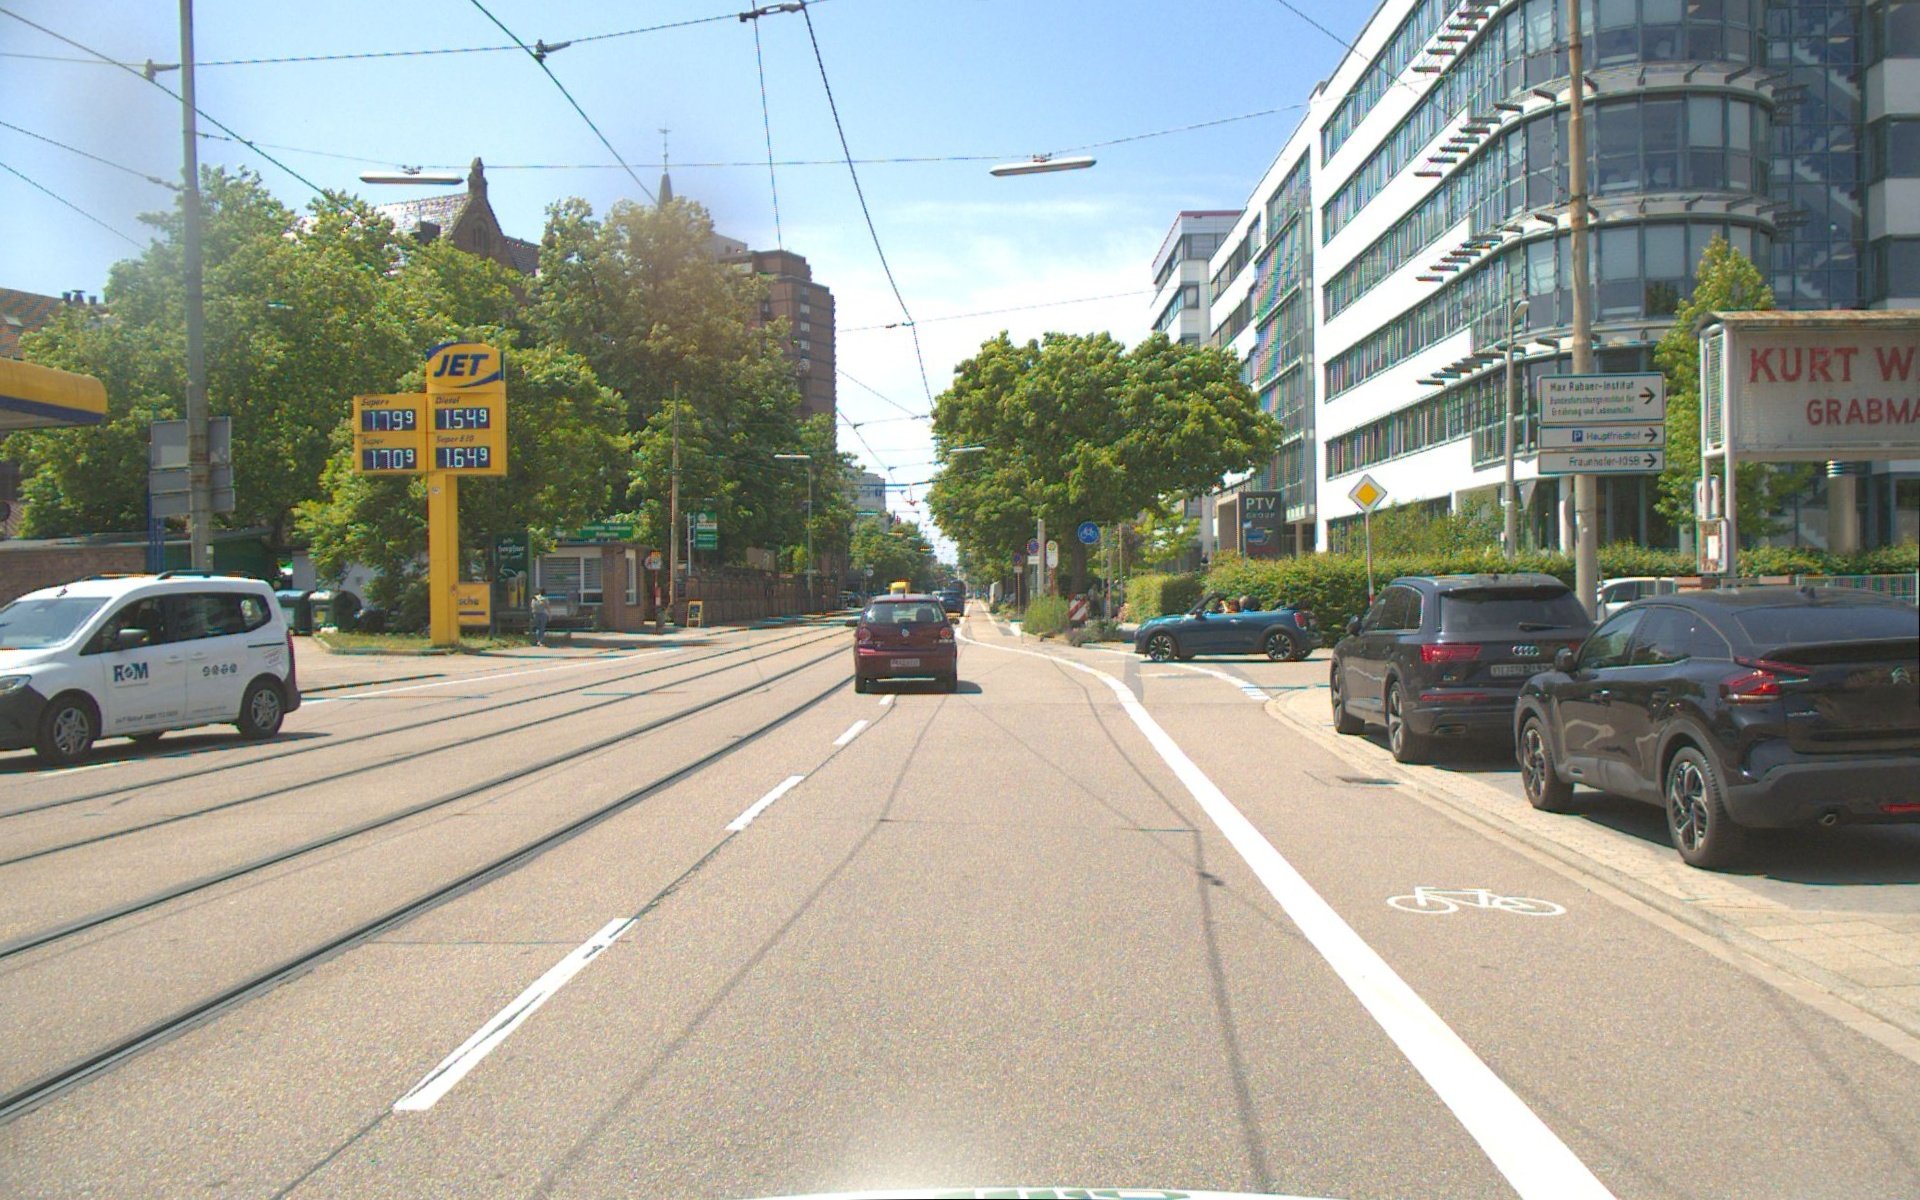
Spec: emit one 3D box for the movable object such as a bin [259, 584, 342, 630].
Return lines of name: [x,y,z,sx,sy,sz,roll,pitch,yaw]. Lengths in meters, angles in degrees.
movable object such as a bin: [-21.688,0.228,54.451,1.491,1.457,2.098,1,0,25]

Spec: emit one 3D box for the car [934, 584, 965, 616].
car: [-0.687,-0.024,109.263,1.953,2.049,3.999,1,0,-2]

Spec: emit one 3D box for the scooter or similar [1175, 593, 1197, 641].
scooter or similar: [5.973,0.448,43.661,0.319,1.244,1.152,1,0,21]

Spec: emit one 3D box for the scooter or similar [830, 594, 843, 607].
scooter or similar: [-11.260,0.069,150.989,1.073,1.175,0.524,0,0,-21]

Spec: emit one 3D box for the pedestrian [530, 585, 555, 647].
pedestrian: [-12.351,0.457,48.939,0.568,1.806,0.699,1,0,-3]

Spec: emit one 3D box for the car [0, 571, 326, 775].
car: [-8.927,0.642,17.249,1.951,1.831,4.556,0,0,17]

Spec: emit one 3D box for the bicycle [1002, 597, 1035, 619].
bicycle: [3.379,0.481,95.301,1.845,1.203,0.694,-1,0,0]

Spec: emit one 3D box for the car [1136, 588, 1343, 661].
car: [5.679,0.504,33.656,3.836,1.396,1.702,-1,0,25]

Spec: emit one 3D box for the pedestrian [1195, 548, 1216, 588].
pedestrian: [10.964,-1.428,73.836,0.855,1.745,1.090,-2,-1,10]

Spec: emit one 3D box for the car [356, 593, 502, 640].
car: [-17.963,0.528,56.117,1.899,1.514,4.428,1,1,40]

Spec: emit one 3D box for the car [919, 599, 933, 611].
car: [-4.722,0.660,230.700,1.734,1.542,4.000,-1,0,0]

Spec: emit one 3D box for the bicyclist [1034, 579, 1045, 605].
bicyclist: [5.680,-0.562,117.938,0.682,1.831,0.888,-2,-1,3]

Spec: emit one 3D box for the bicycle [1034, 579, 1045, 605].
bicycle: [5.692,-0.535,117.978,0.675,1.816,1.811,-2,-1,3]

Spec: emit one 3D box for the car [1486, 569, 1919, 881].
car: [5.022,0.641,10.825,1.736,1.575,4.468,-3,0,1]

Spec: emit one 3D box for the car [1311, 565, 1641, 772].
car: [5.047,0.585,16.989,1.884,1.722,5.083,-3,0,2]

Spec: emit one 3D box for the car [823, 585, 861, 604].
car: [-12.894,-0.581,180.697,3.903,2.049,2.001,-1,0,4]

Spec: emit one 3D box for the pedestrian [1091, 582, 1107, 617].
pedestrian: [7.075,-0.040,84.424,0.531,1.745,0.560,-2,-1,-29]

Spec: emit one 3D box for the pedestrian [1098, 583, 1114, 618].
pedestrian: [7.477,0.021,84.900,0.531,1.745,0.560,-2,-1,-29]

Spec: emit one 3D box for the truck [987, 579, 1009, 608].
truck: [3.614,-0.590,157.517,1.952,2.708,4.875,1,0,0]

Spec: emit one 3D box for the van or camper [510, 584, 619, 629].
van or camper: [-15.282,0.234,64.033,3.706,1.657,1.872,1,1,0]

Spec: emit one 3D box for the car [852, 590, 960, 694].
car: [-0.810,0.614,26.618,1.586,1.512,4.000,-1,0,0]

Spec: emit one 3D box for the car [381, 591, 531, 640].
car: [-16.623,0.482,54.714,1.899,1.514,4.428,1,1,40]

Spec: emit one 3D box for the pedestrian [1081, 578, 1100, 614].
pedestrian: [6.710,-0.186,85.083,0.671,1.828,0.667,-2,0,-31]

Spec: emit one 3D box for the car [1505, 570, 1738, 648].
car: [13.435,0.176,33.779,4.061,1.485,1.819,-1,0,4]

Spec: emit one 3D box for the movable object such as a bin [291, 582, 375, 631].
movable object such as a bin: [-20.326,0.201,53.686,1.491,1.535,2.098,1,0,25]

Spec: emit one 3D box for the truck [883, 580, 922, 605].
truck: [-6.542,-0.852,189.432,2.319,2.835,7.325,-1,0,16]

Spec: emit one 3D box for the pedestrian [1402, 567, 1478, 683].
pedestrian: [7.164,0.355,24.721,0.825,1.696,0.730,0,0,-20]
